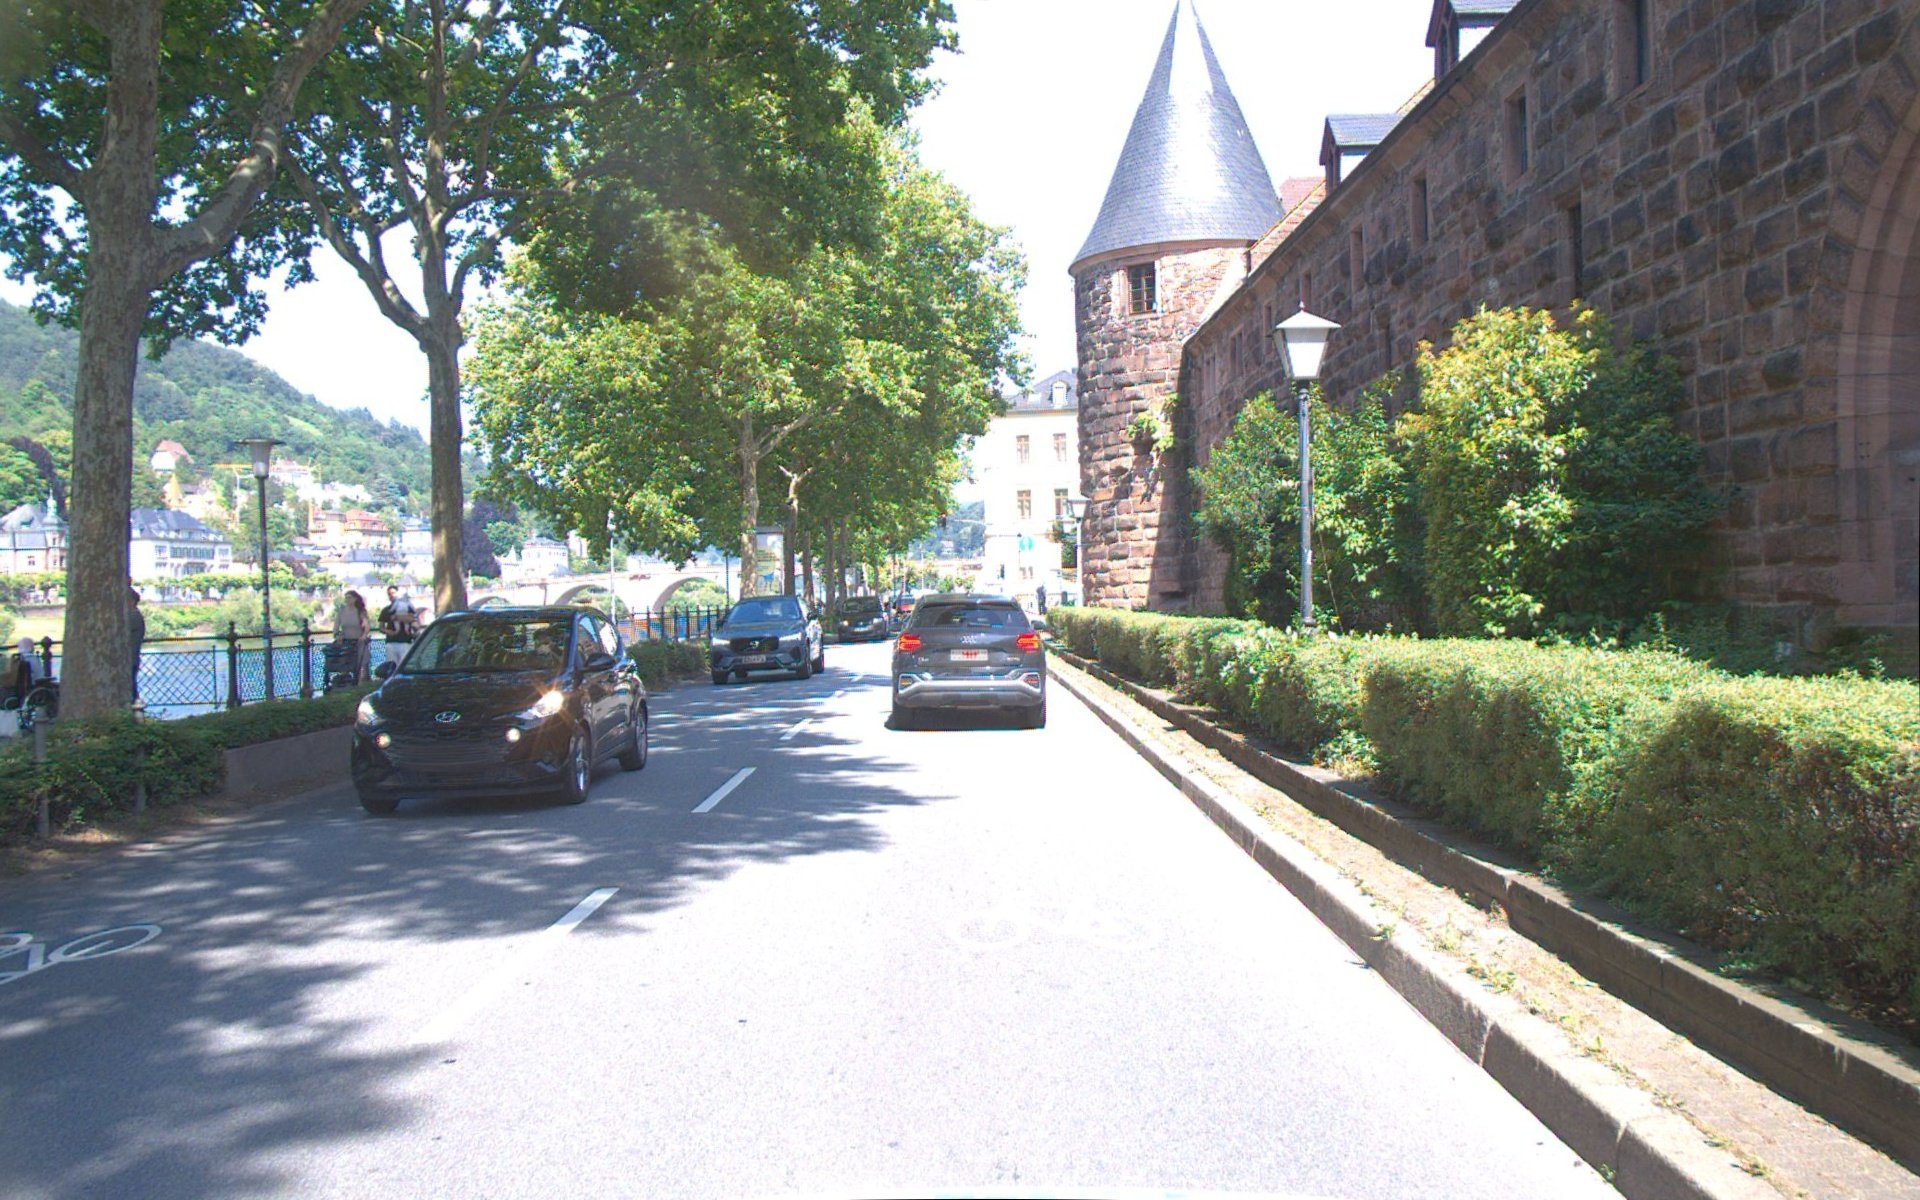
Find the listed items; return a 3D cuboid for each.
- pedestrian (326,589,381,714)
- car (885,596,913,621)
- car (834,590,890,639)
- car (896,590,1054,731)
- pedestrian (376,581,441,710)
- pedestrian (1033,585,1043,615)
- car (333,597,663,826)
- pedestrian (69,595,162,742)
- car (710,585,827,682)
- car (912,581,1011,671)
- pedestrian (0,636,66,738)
[{"bbox_3d":[-8.994,0.755,24.540,0.506,1.799,0.592,-3,0,0],"label":"pedestrian"},{"bbox_3d":[-4.067,0.575,110.992,1.581,1.549,3.477,-3,0,2],"label":"car"},{"bbox_3d":[-3.587,0.495,61.087,1.727,1.676,4.090,-3,0,0],"label":"car"},{"bbox_3d":[0.126,0.651,19.720,1.713,1.521,3.628,0,0,-1],"label":"car"},{"bbox_3d":[-8.410,0.682,25.247,0.628,1.902,0.806,-3,0,0],"label":"pedestrian"},{"bbox_3d":[4.377,-0.006,92.690,0.545,1.661,0.660,0,0,1],"label":"pedestrian"},{"bbox_3d":[-3.573,0.778,13.479,1.616,1.494,3.779,-3,1,-1],"label":"car"},{"bbox_3d":[-10.271,0.813,20.147,0.679,1.747,0.874,1,0,-2],"label":"pedestrian"},{"bbox_3d":[-3.761,0.613,33.076,1.839,1.728,4.258,-3,0,-1],"label":"car"},{"bbox_3d":[0.046,0.469,32.633,1.764,1.589,3.716,-3,0,0],"label":"car"},{"bbox_3d":[-11.540,1.062,20.386,0.597,1.198,0.695,-3,0,1],"label":"pedestrian"}]
